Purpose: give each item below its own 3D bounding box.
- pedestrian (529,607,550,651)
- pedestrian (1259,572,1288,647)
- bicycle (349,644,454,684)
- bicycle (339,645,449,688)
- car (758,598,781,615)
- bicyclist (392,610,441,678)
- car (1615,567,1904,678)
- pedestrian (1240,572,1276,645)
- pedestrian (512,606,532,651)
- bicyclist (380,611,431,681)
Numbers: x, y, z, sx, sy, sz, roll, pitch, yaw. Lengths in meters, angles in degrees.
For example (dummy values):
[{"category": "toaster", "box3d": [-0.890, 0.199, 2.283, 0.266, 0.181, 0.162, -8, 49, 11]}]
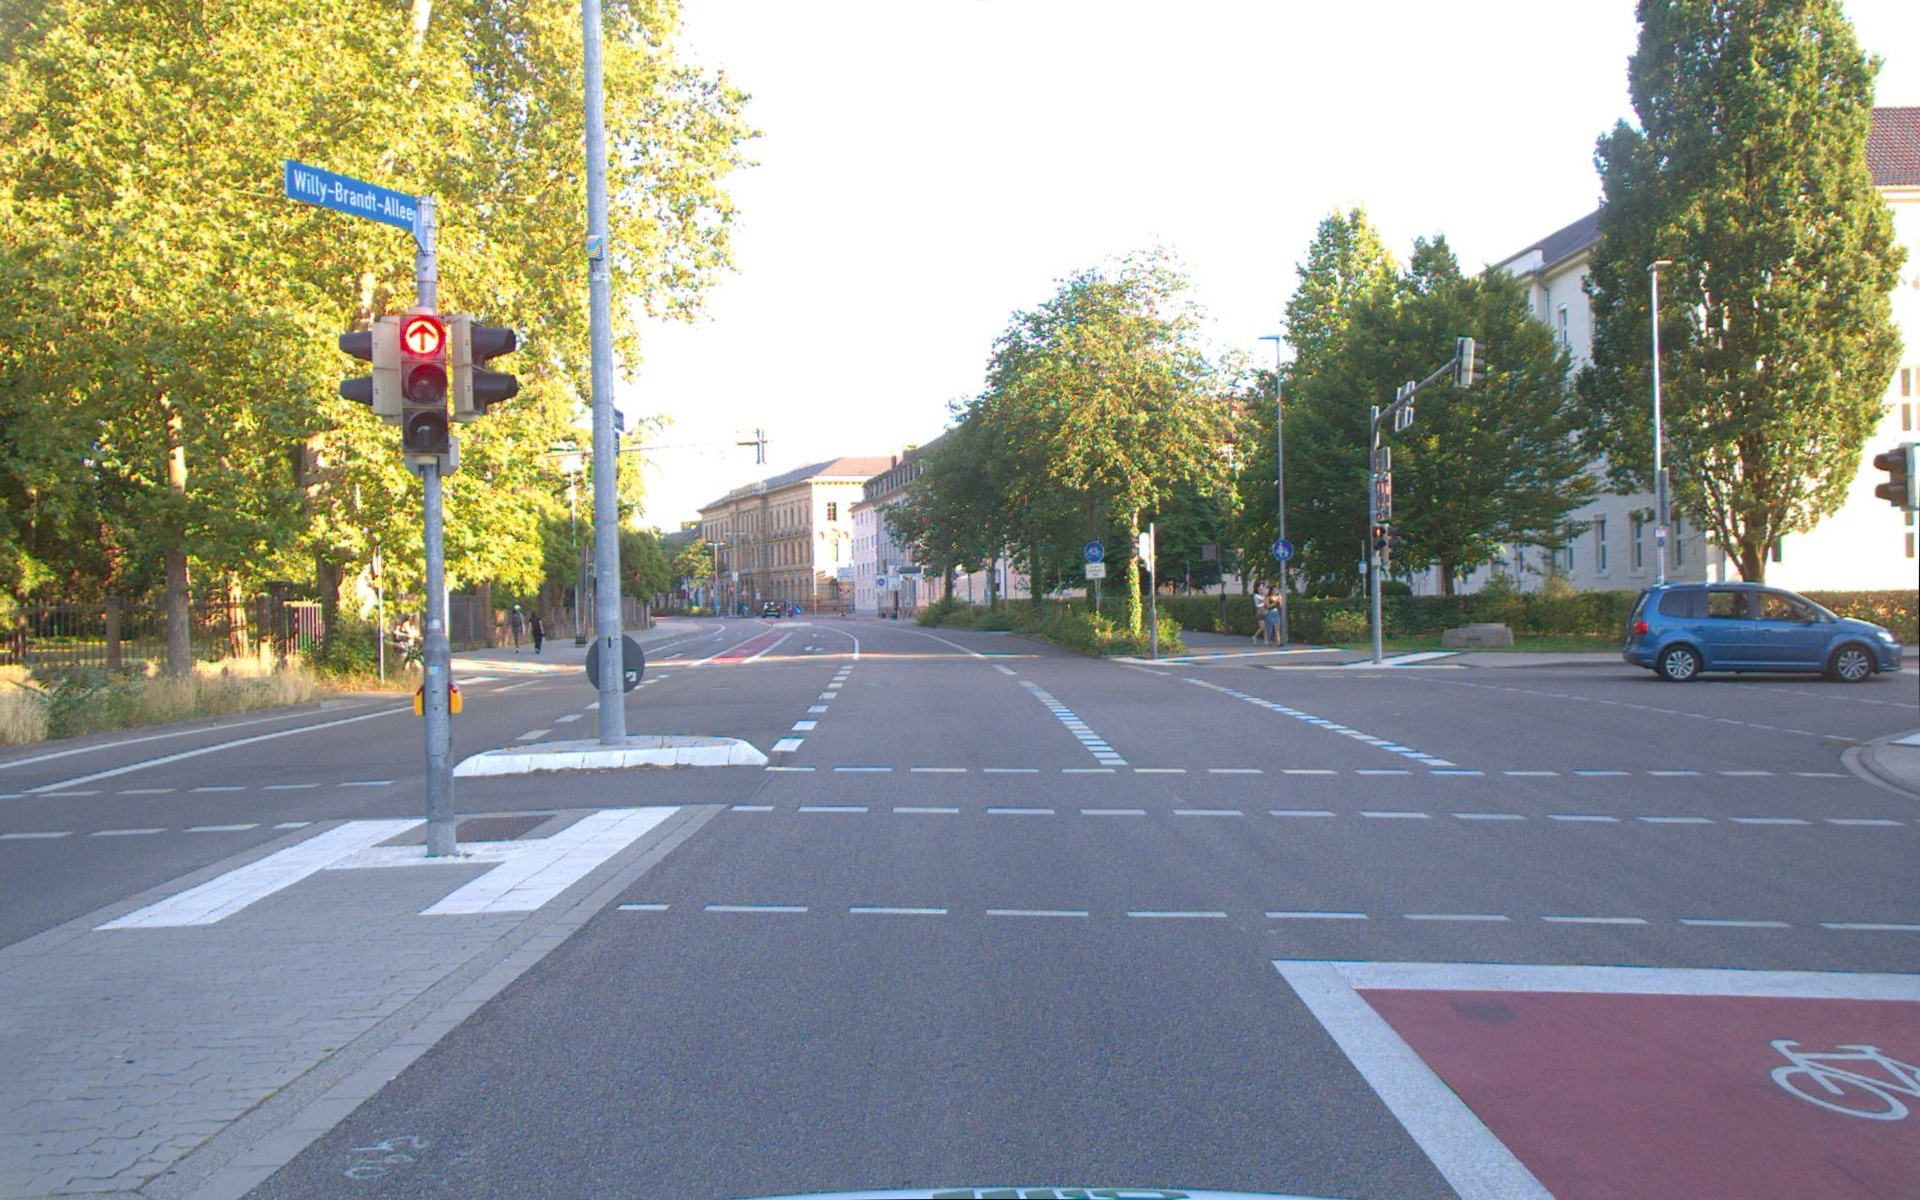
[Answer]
[{"category": "pedestrian", "box3d": [-15.419, 1.062, 60.646, 0.587, 1.601, 0.646, -1, 0, -1]}, {"category": "pedestrian", "box3d": [8.562, 0.255, 45.190, 0.622, 2.049, 0.720, 0, 0, -5]}, {"category": "bicycle", "box3d": [-14.116, 1.615, 41.845, 2.380, 0.940, 0.775, -1, 0, 0]}, {"category": "bicycle", "box3d": [-13.697, 1.609, 40.068, 2.380, 0.940, 0.775, -1, 0, 0]}, {"category": "car", "box3d": [-19.493, 0.658, 169.408, 1.789, 1.616, 3.984, -2, 0, -15]}, {"category": "bicyclist", "box3d": [-13.752, 1.107, 41.855, 0.938, 1.659, 0.752, -1, 0, -1]}, {"category": "car", "box3d": [13.561, 0.377, 28.312, 4.191, 1.750, 1.857, -1, 2, 17]}, {"category": "pedestrian", "box3d": [8.385, 0.235, 46.555, 0.852, 2.049, 0.722, 0, 0, -1]}, {"category": "pedestrian", "box3d": [-16.058, 1.055, 60.646, 0.524, 1.624, 0.590, -1, 0, -1]}, {"category": "bicyclist", "box3d": [-13.429, 1.105, 40.060, 0.938, 1.659, 0.752, -1, 0, -1]}]
